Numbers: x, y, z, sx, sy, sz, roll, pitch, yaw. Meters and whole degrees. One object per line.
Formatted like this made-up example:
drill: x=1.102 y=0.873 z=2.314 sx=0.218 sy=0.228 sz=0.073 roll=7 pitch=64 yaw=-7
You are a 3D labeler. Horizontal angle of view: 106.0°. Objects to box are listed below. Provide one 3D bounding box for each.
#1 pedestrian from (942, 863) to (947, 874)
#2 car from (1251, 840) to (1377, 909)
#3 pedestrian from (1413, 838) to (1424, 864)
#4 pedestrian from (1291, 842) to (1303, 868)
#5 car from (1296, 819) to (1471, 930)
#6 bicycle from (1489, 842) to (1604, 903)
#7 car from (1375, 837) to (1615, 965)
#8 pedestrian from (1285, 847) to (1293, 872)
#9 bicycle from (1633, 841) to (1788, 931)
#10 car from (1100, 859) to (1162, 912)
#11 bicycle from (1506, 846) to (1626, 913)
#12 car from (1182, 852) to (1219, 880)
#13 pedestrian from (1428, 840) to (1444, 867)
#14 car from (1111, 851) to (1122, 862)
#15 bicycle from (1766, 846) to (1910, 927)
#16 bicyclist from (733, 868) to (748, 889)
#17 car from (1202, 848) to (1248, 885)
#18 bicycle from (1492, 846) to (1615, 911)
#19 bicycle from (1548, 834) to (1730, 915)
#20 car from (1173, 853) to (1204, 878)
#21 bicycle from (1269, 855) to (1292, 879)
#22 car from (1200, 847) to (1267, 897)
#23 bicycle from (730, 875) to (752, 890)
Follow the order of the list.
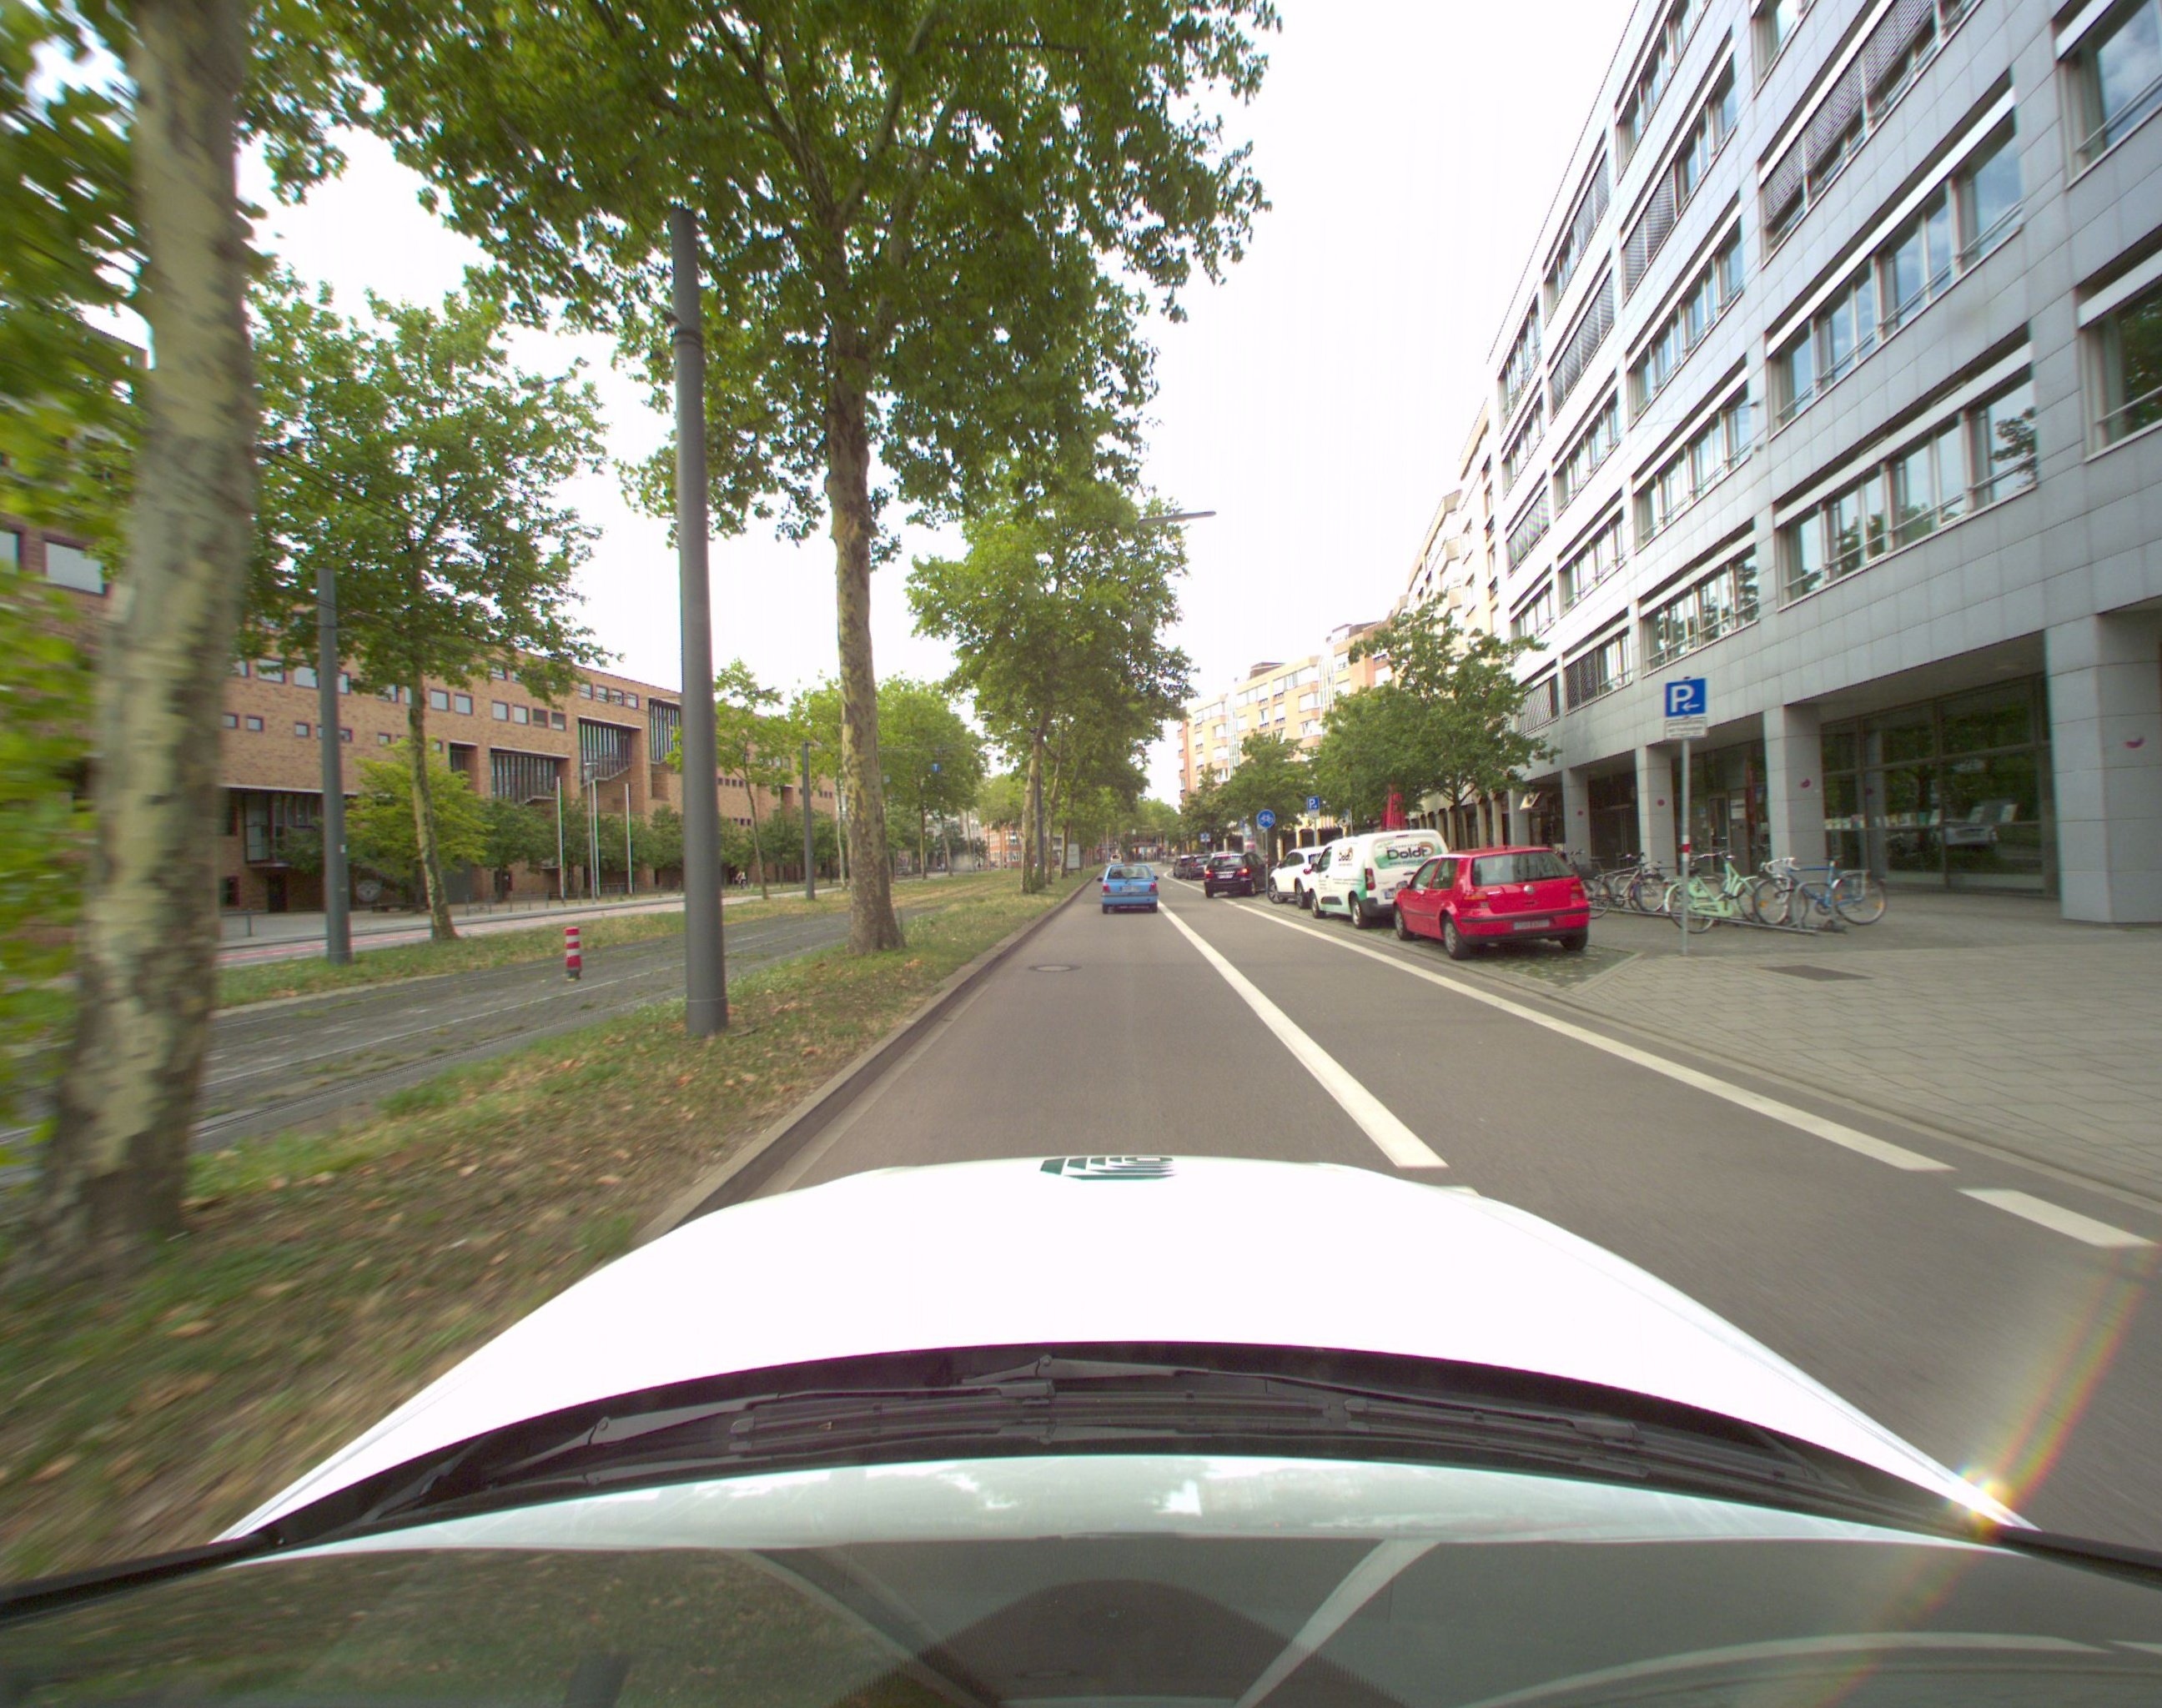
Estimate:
pedestrian: x=-23.393 y=2.472 z=139.109 sx=0.549 sy=1.705 sz=0.886 roll=-2 pitch=0 yaw=7
car: x=6.493 y=0.527 z=23.288 sx=1.990 sy=1.602 sz=4.579 roll=-5 pitch=0 yaw=-2
pedestrian: x=20.474 y=-0.196 z=49.369 sx=0.508 sy=1.555 sz=0.475 roll=-3 pitch=0 yaw=15
pedestrian: x=13.145 y=0.052 z=49.588 sx=0.510 sy=1.569 sz=0.483 roll=-3 pitch=-1 yaw=38
car: x=6.062 y=0.368 z=17.010 sx=1.821 sy=1.864 sz=4.648 roll=-5 pitch=0 yaw=0
bicycle: x=9.982 y=0.393 z=17.513 sx=2.042 sy=1.197 sz=0.481 roll=-3 pitch=0 yaw=10
car: x=5.818 y=0.569 z=12.083 sx=1.713 sy=1.432 sz=4.261 roll=-5 pitch=0 yaw=7
pedestrian: x=12.502 y=0.340 z=48.941 sx=0.409 sy=1.479 sz=0.505 roll=-3 pitch=0 yaw=9
bicycle: x=8.902 y=0.444 z=11.536 sx=1.845 sy=1.139 sz=0.492 roll=-3 pitch=0 yaw=-5
car: x=1.468 y=0.861 z=24.045 sx=1.633 sy=1.386 sz=3.846 roll=-2 pitch=0 yaw=3
bicycle: x=9.389 y=0.494 z=15.813 sx=1.897 sy=1.197 sz=0.481 roll=-3 pitch=0 yaw=10
car: x=7.318 y=0.724 z=50.243 sx=1.708 sy=1.519 sz=4.206 roll=-4 pitch=0 yaw=2
pedestrian: x=21.393 y=-0.045 z=49.033 sx=0.704 sy=1.555 sz=0.802 roll=-3 pitch=0 yaw=15
car: x=6.111 y=0.415 z=139.920 sx=1.924 sy=1.925 sz=4.959 roll=-2 pitch=0 yaw=3
bicycle: x=10.302 y=0.428 z=11.102 sx=1.554 sy=0.987 sz=0.422 roll=-4 pitch=0 yaw=-2
bicyclist: x=-26.916 y=1.901 z=64.400 sx=0.661 sy=1.590 sz=0.986 roll=-2 pitch=0 yaw=5
car: x=7.169 y=0.575 z=40.842 sx=1.852 sy=1.653 sz=4.170 roll=-4 pitch=0 yaw=6
bicycle: x=9.455 y=0.485 z=16.345 sx=2.042 sy=1.197 sz=0.481 roll=-3 pitch=0 yaw=10
bicycle: x=9.655 y=0.349 z=14.149 sx=2.622 sy=1.258 sz=0.655 roll=-3 pitch=0 yaw=2
car: x=7.248 y=0.773 z=55.393 sx=1.732 sy=1.519 sz=4.406 roll=-4 pitch=0 yaw=4
bicycle: x=9.008 y=0.580 z=36.859 sx=0.602 sy=1.029 sz=1.867 roll=-3 pitch=0 yaw=3
car: x=5.832 y=0.632 z=30.778 sx=1.760 sy=1.576 sz=4.326 roll=-5 pitch=0 yaw=19
bicycle: x=-26.905 y=2.247 z=64.414 sx=0.665 sy=1.084 sz=2.097 roll=-2 pitch=0 yaw=6
